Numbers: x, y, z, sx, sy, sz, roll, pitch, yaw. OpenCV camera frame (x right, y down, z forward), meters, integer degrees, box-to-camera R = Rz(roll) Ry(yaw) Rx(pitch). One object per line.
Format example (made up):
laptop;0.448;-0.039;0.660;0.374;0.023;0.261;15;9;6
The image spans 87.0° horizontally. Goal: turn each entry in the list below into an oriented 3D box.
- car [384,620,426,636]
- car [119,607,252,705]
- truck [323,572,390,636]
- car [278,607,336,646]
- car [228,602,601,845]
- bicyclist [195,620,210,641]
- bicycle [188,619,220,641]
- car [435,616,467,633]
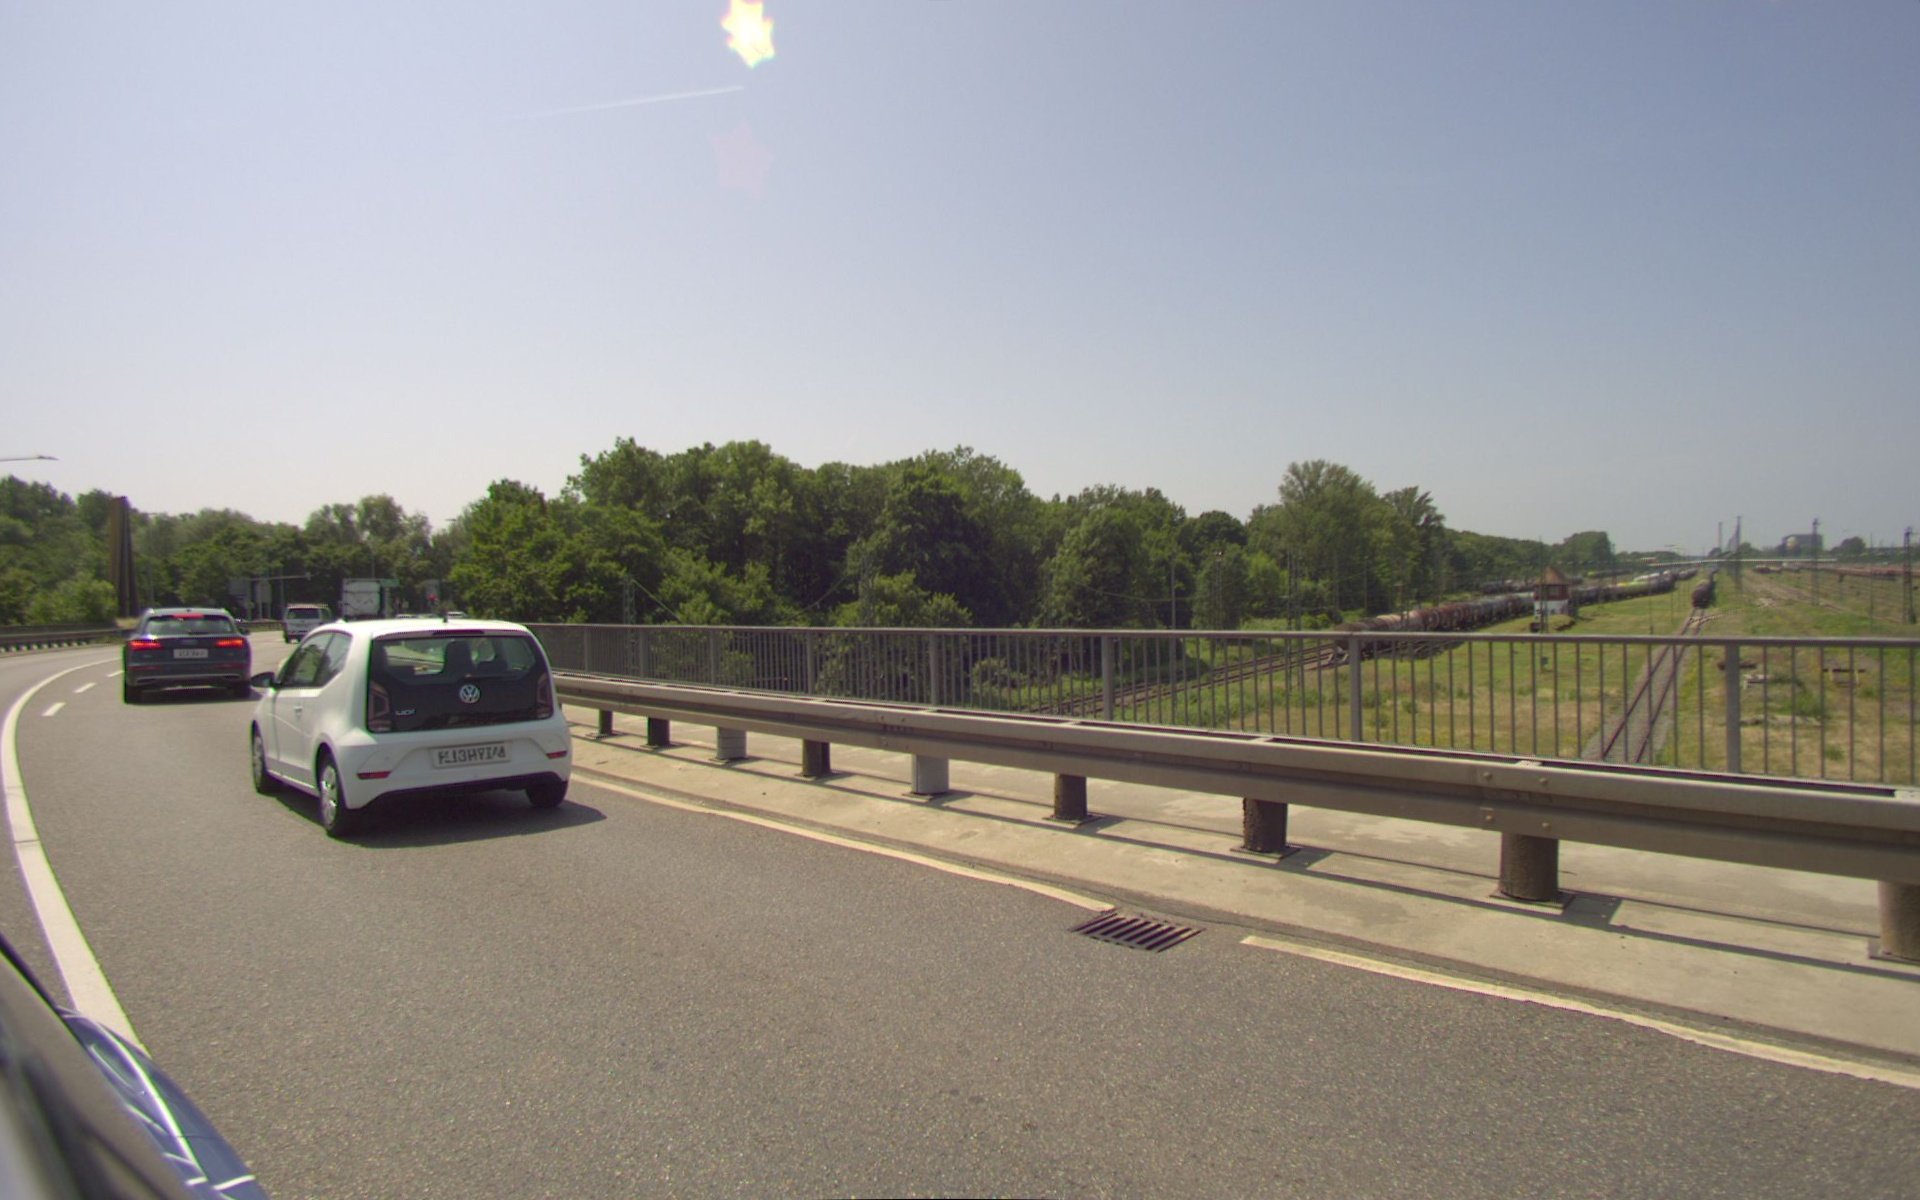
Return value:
car;-49.252;2.478;89.865;1.804;1.417;4.898;0;-1;-11
car;-14.729;1.004;19.192;1.818;1.648;4.240;0;-2;-39
truck;-39.623;0.330;66.614;2.668;4.022;6.205;1;-2;-20
car;-35.116;1.411;54.567;1.835;2.015;4.829;0;-1;-23
car;-4.450;0.806;8.039;3.487;1.475;1.645;-2;-1;44
bicyclist;-58.527;2.341;78.191;0.685;1.611;0.668;-2;-1;14
bicycle;-58.414;2.309;78.165;2.352;1.586;0.653;-2;-1;15
car;-51.815;2.449;103.023;1.803;1.651;4.590;0;-1;-12
